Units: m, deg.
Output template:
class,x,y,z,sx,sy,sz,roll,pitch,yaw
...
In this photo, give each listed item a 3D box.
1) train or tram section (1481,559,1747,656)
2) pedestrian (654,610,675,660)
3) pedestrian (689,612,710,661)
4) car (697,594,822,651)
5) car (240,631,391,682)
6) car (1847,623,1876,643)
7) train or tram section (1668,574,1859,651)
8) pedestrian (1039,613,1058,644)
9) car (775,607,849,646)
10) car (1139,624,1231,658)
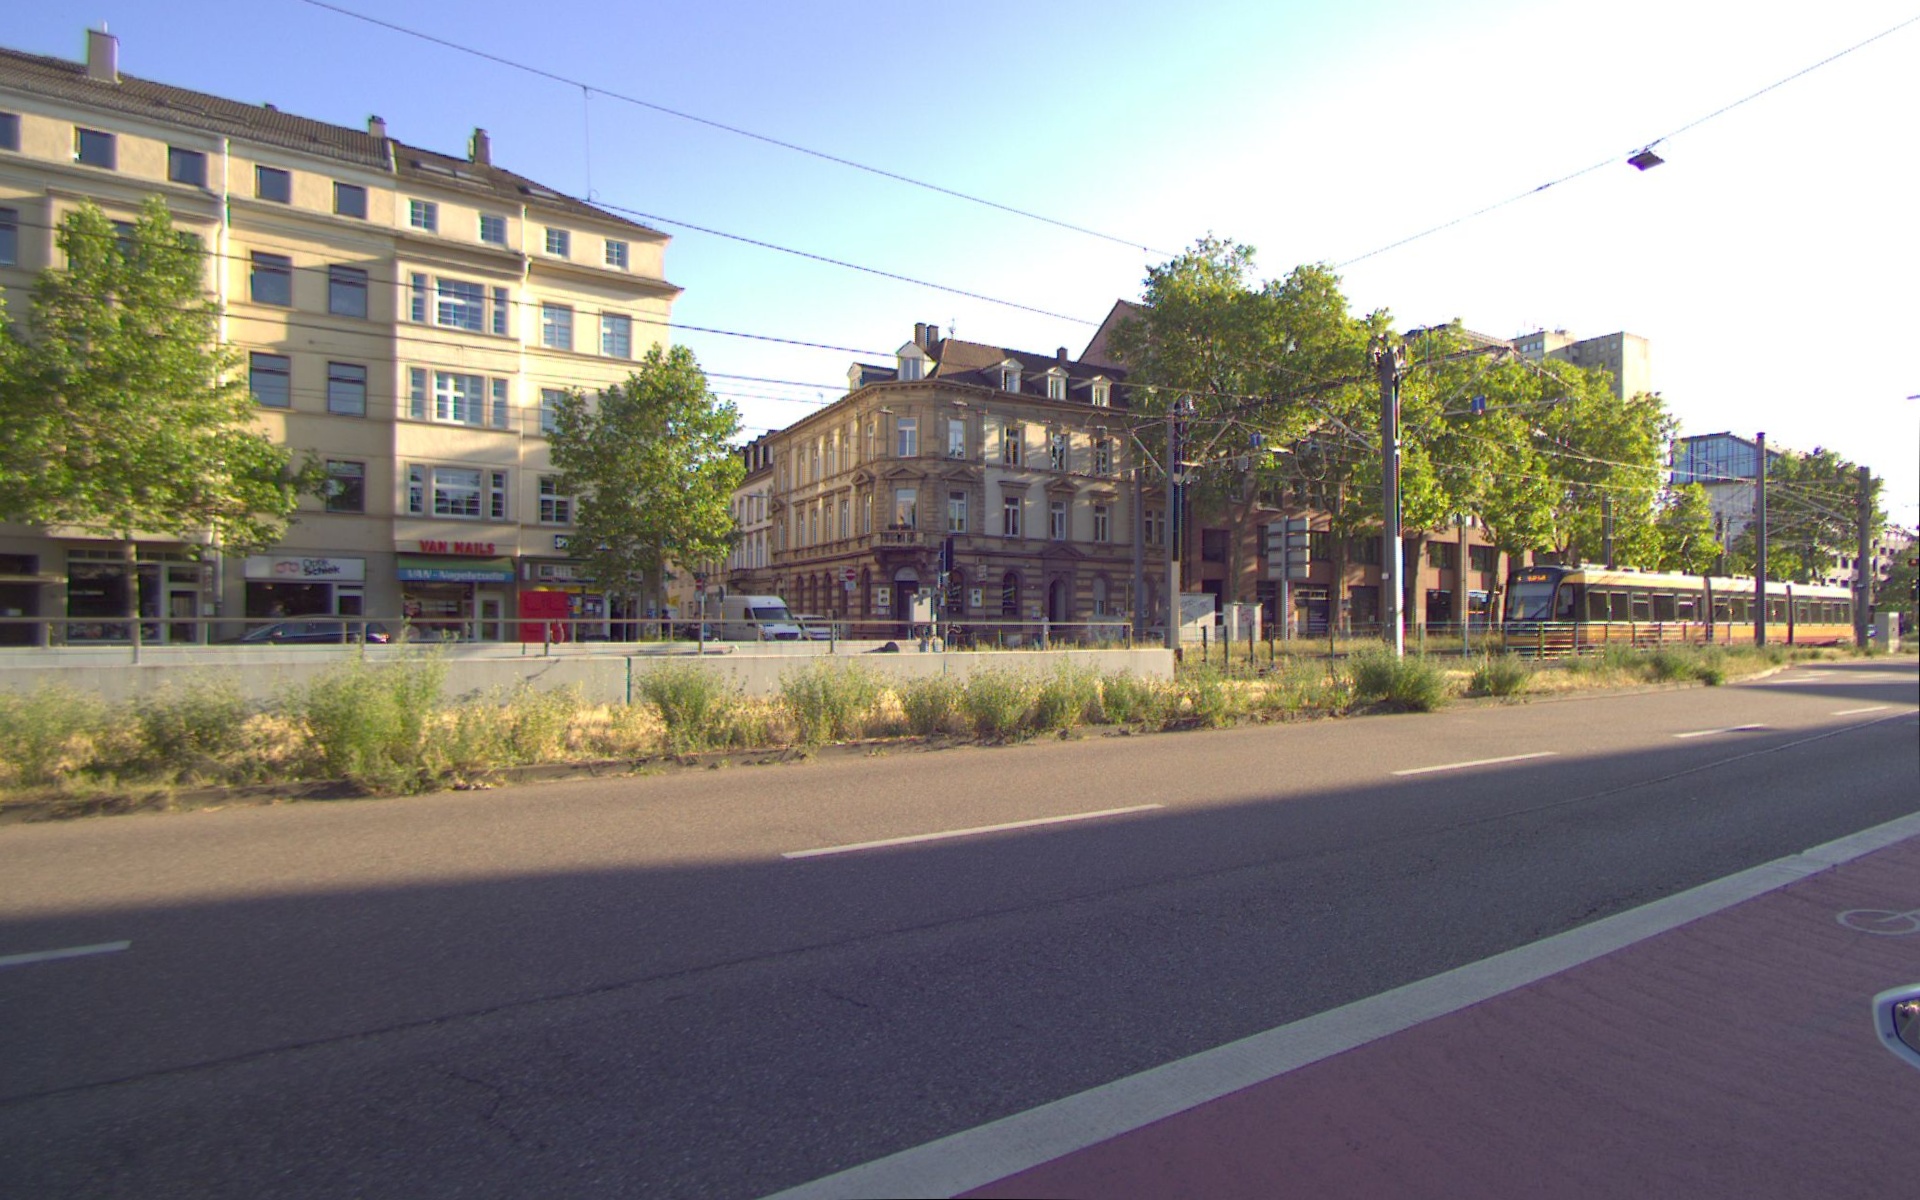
class,x,y,z,sx,sy,sz,roll,pitch,yaw
train or tram section,28.811,0.470,43.570,17.293,3.606,3.094,1,-1,-34
pedestrian,-11.684,1.397,39.715,0.625,1.944,0.581,2,1,-31
pedestrian,-10.342,1.445,39.866,0.579,1.944,0.627,2,1,-31
car,-8.911,0.977,43.977,2.448,2.296,7.214,1,-2,-37
car,-18.967,1.659,29.725,3.669,1.350,1.446,2,0,-32
car,74.376,2.706,82.825,3.534,1.549,1.590,2,-2,-45
train or tram section,43.723,0.816,54.114,19.742,3.606,3.090,1,-2,-37
pedestrian,4.670,1.509,53.150,0.684,1.583,0.699,1,-1,-35
car,-7.641,1.370,51.589,1.965,1.912,4.655,1,-2,-33
car,11.234,2.016,50.056,4.684,1.606,1.750,1,-2,-33
